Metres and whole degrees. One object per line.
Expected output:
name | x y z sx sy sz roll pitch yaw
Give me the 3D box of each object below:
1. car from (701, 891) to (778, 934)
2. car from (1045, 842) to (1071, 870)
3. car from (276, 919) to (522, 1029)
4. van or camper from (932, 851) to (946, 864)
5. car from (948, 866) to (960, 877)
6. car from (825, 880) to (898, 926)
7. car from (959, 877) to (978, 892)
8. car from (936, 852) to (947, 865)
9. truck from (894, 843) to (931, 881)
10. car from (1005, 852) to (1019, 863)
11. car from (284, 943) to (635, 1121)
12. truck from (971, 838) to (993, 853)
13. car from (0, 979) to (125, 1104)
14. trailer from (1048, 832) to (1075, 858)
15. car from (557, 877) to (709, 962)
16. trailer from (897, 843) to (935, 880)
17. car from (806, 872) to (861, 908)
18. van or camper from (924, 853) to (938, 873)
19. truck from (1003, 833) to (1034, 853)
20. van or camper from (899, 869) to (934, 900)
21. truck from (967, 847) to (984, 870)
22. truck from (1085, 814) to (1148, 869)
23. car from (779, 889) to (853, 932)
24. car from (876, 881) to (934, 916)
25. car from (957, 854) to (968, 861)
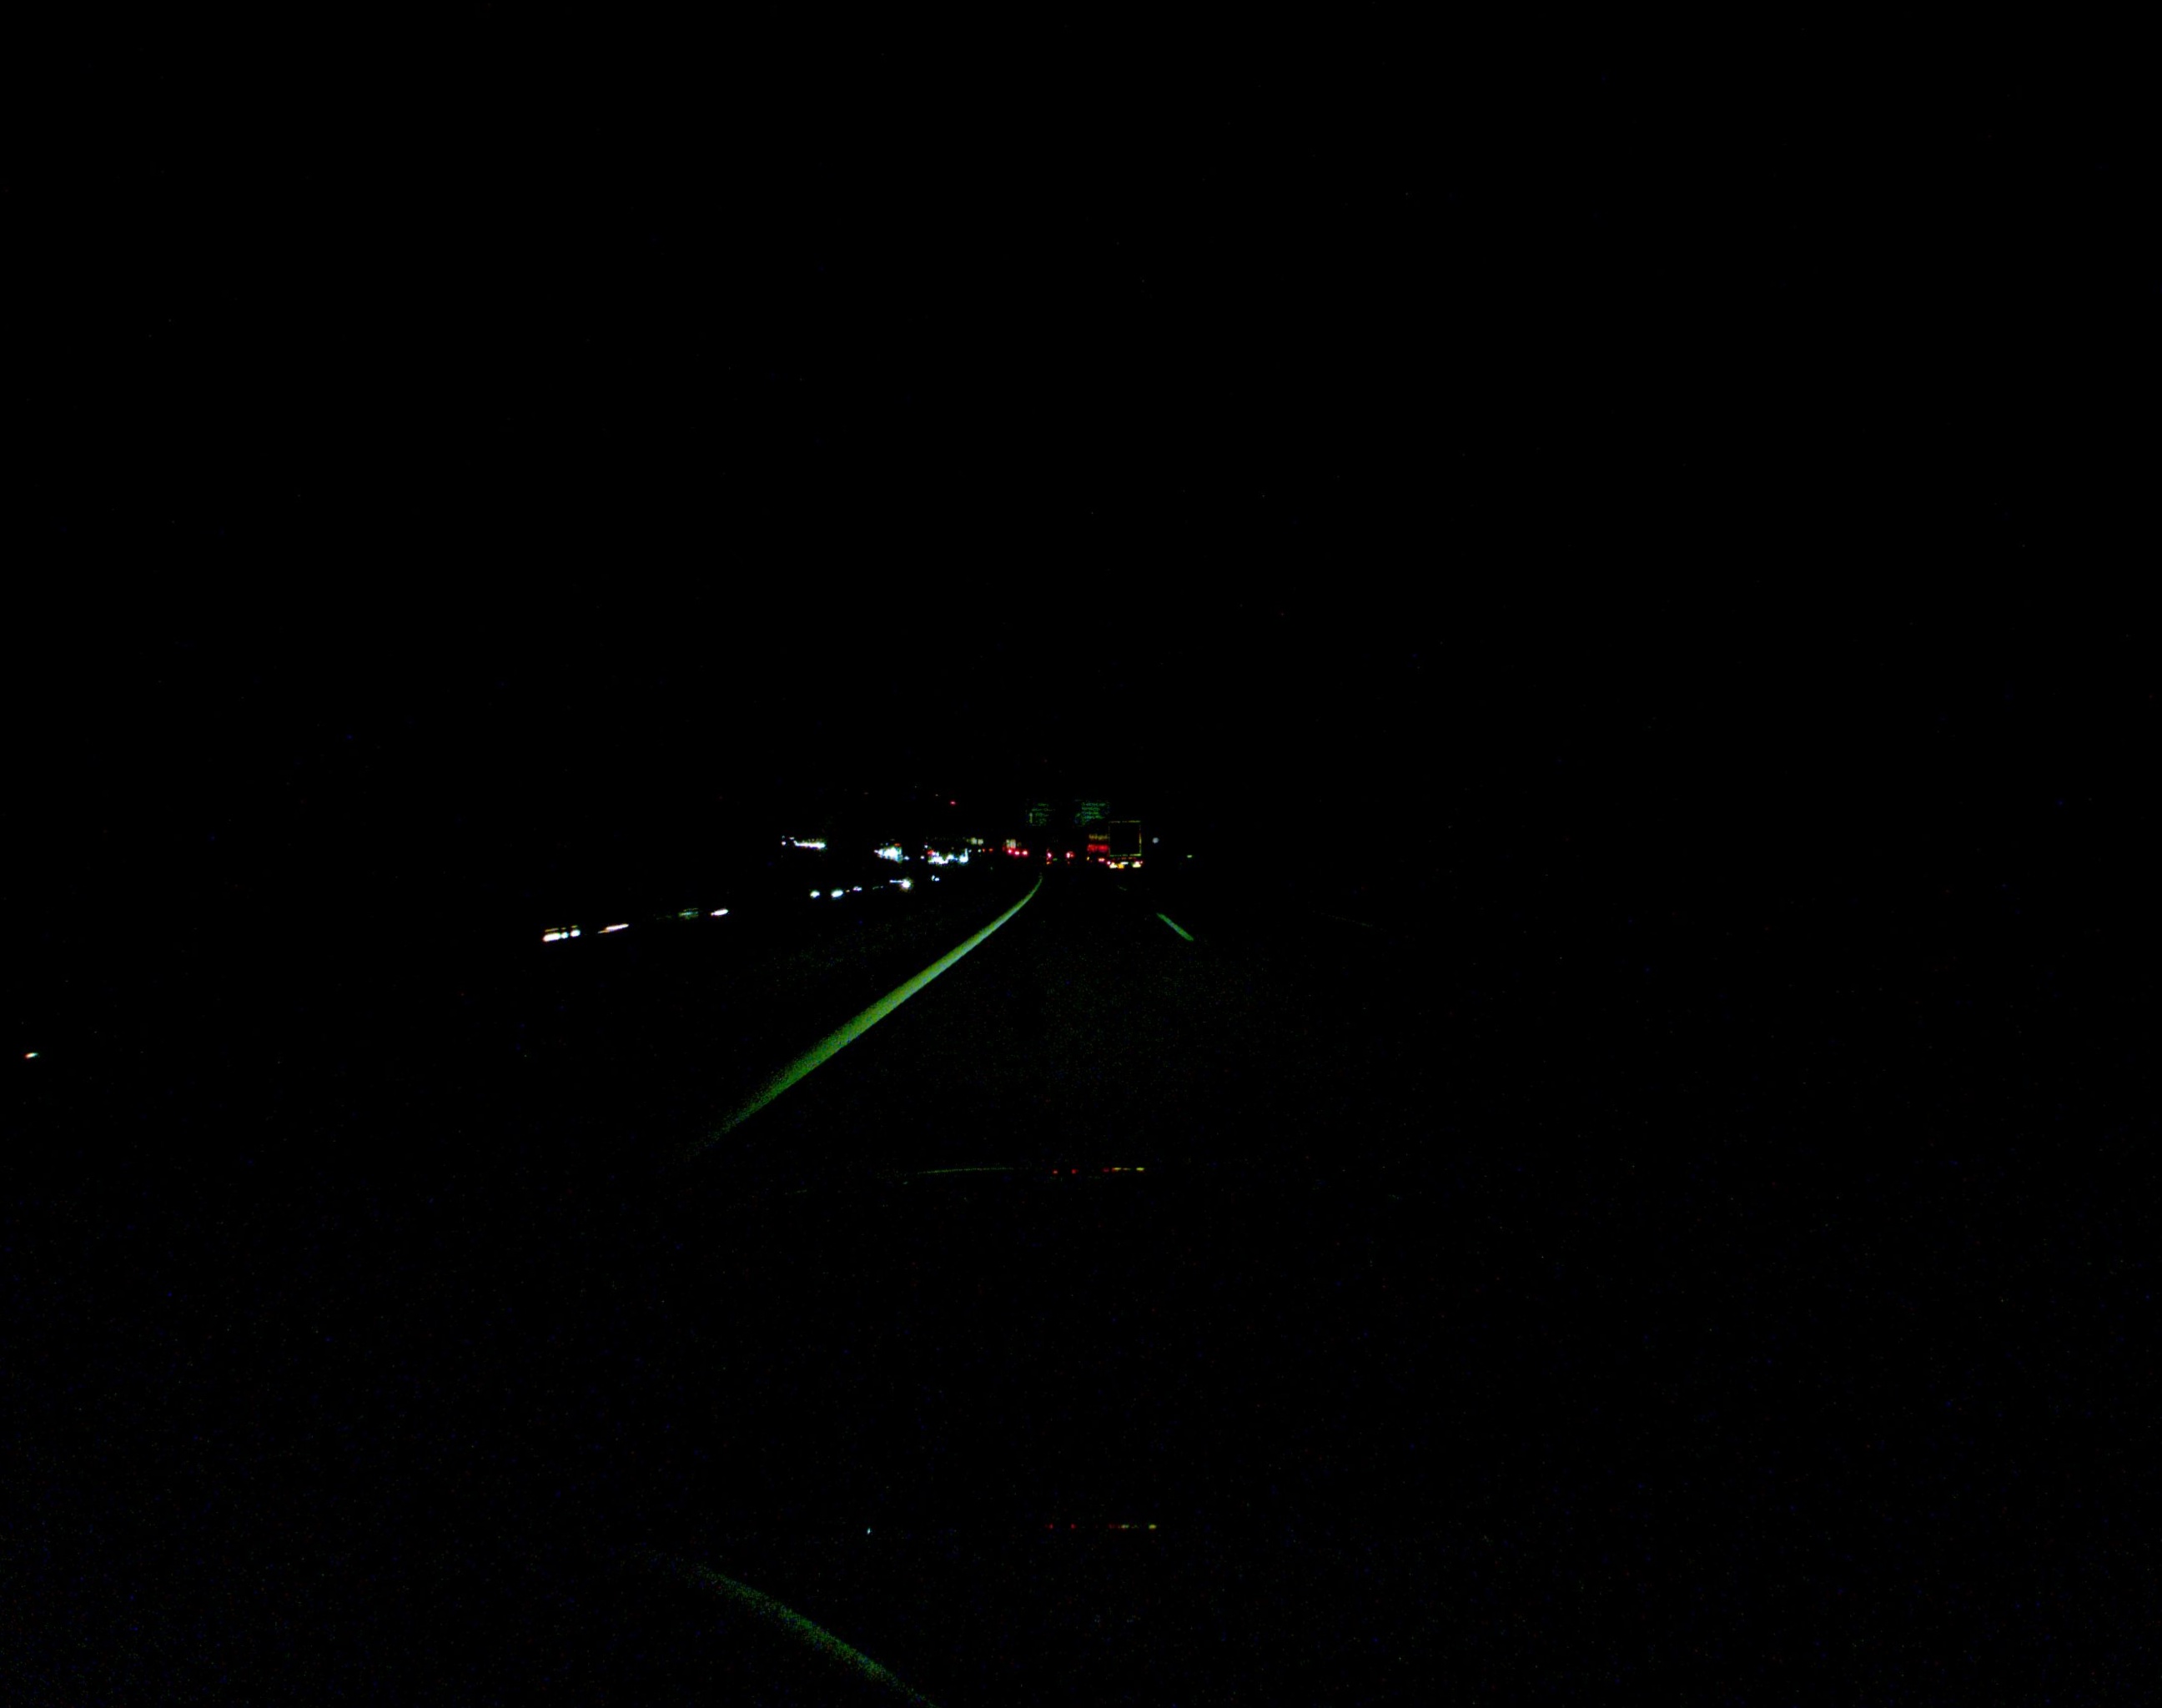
car | -15.516 2.626 37.263 1.812 1.557 4.276 -2 0 -2
car | -2.294 0.155 79.774 2.332 2.640 5.240 0 0 -4
car | -14.651 2.495 17.856 1.945 1.716 3.999 -2 0 0
van or camper | -31.116 0.774 178.236 2.449 2.760 6.456 -3 1 -15
car | -18.204 2.489 116.916 1.600 1.442 3.989 -3 0 -8
car | -8.508 1.864 31.935 1.812 1.469 4.276 -2 0 -2
car | -11.613 3.106 83.871 1.607 1.479 4.057 0 -1 -12
car | -27.809 0.914 161.948 1.835 2.370 5.424 -3 1 -12
truck | -19.947 0.900 96.779 3.415 4.222 6.268 -3 1 -7
car | -9.270 0.476 109.284 1.600 1.442 3.988 -3 0 -9
car | -8.447 2.318 11.688 1.812 1.469 4.276 -2 1 -2
truck | -29.910 -2.620 246.298 3.357 4.475 13.812 0 1 -21
car | -15.482 2.691 10.385 1.818 1.458 3.998 -4 0 -1
trailer | -3.485 -1.658 143.077 2.854 4.066 13.164 -2 2 -9
car | -15.299 2.124 28.322 2.020 2.441 5.696 -1 0 1
trailer | -20.607 0.866 102.608 3.432 4.240 12.802 -3 1 -7
car | -16.510 2.326 54.551 2.133 2.054 5.109 -3 0 -2
van or camper | -23.559 1.348 127.630 1.835 2.971 6.373 -3 1 -12
truck | -16.067 -2.881 207.236 3.922 4.626 20.912 -3 2 -15
van or camper | -12.428 2.244 61.804 1.990 2.013 5.212 -3 0 -5
truck | -17.117 0.695 132.285 2.653 3.591 8.527 -1 0 -8
truck | 2.782 -0.975 71.757 3.475 4.134 18.682 -1 0 -4
car | -12.874 2.691 39.950 2.134 1.623 5.107 -3 0 -3
car | -9.215 2.293 43.184 2.134 1.450 5.107 -3 0 -3
car | -25.006 0.720 171.493 1.821 1.451 4.486 -3 1 -12
